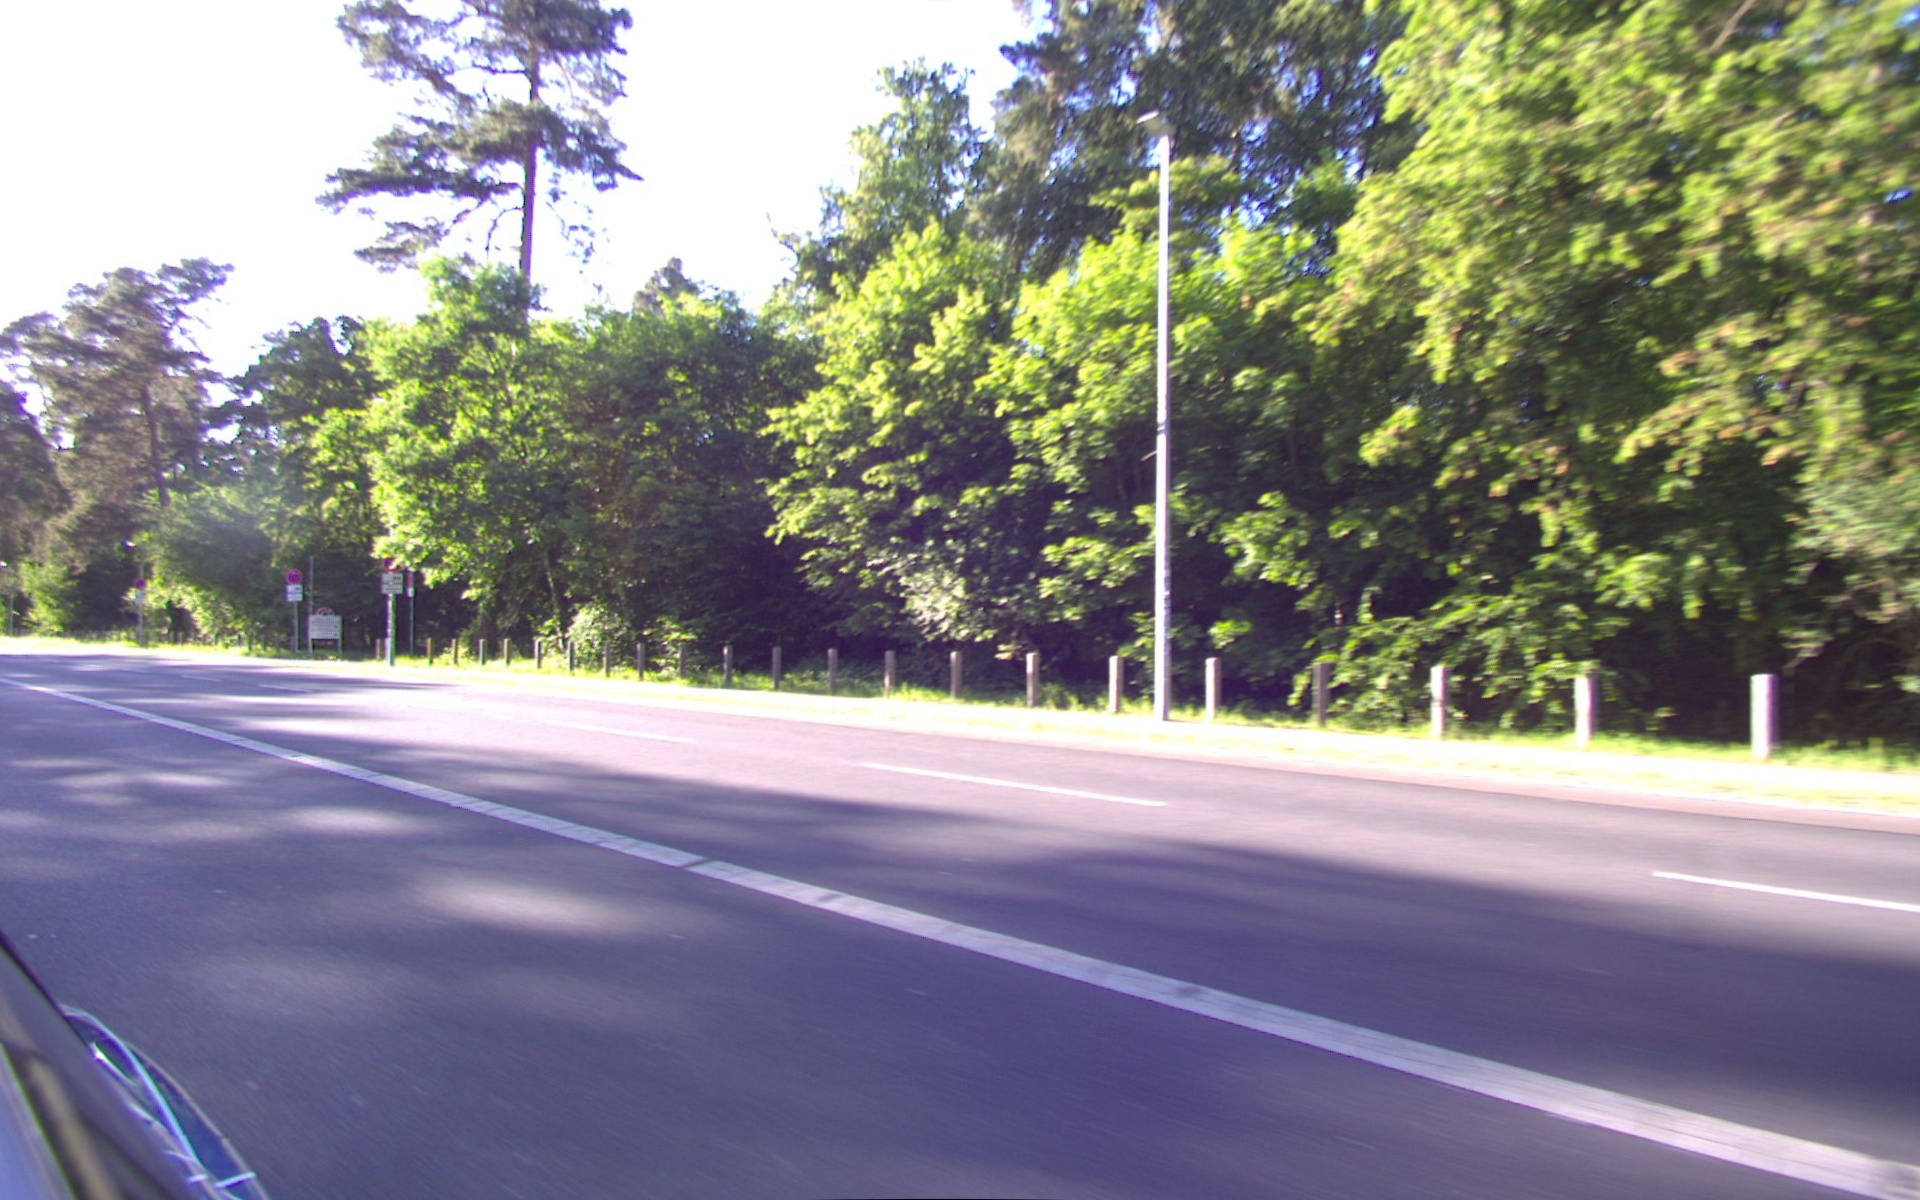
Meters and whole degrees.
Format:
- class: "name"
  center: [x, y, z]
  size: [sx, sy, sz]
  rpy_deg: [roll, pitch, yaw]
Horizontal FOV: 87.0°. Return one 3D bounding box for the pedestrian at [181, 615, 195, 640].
- class: "pedestrian"
  center: [-41.386, 1.451, 54.273]
  size: [0.512, 1.325, 0.466]
  rpy_deg: [-1, -2, 39]
